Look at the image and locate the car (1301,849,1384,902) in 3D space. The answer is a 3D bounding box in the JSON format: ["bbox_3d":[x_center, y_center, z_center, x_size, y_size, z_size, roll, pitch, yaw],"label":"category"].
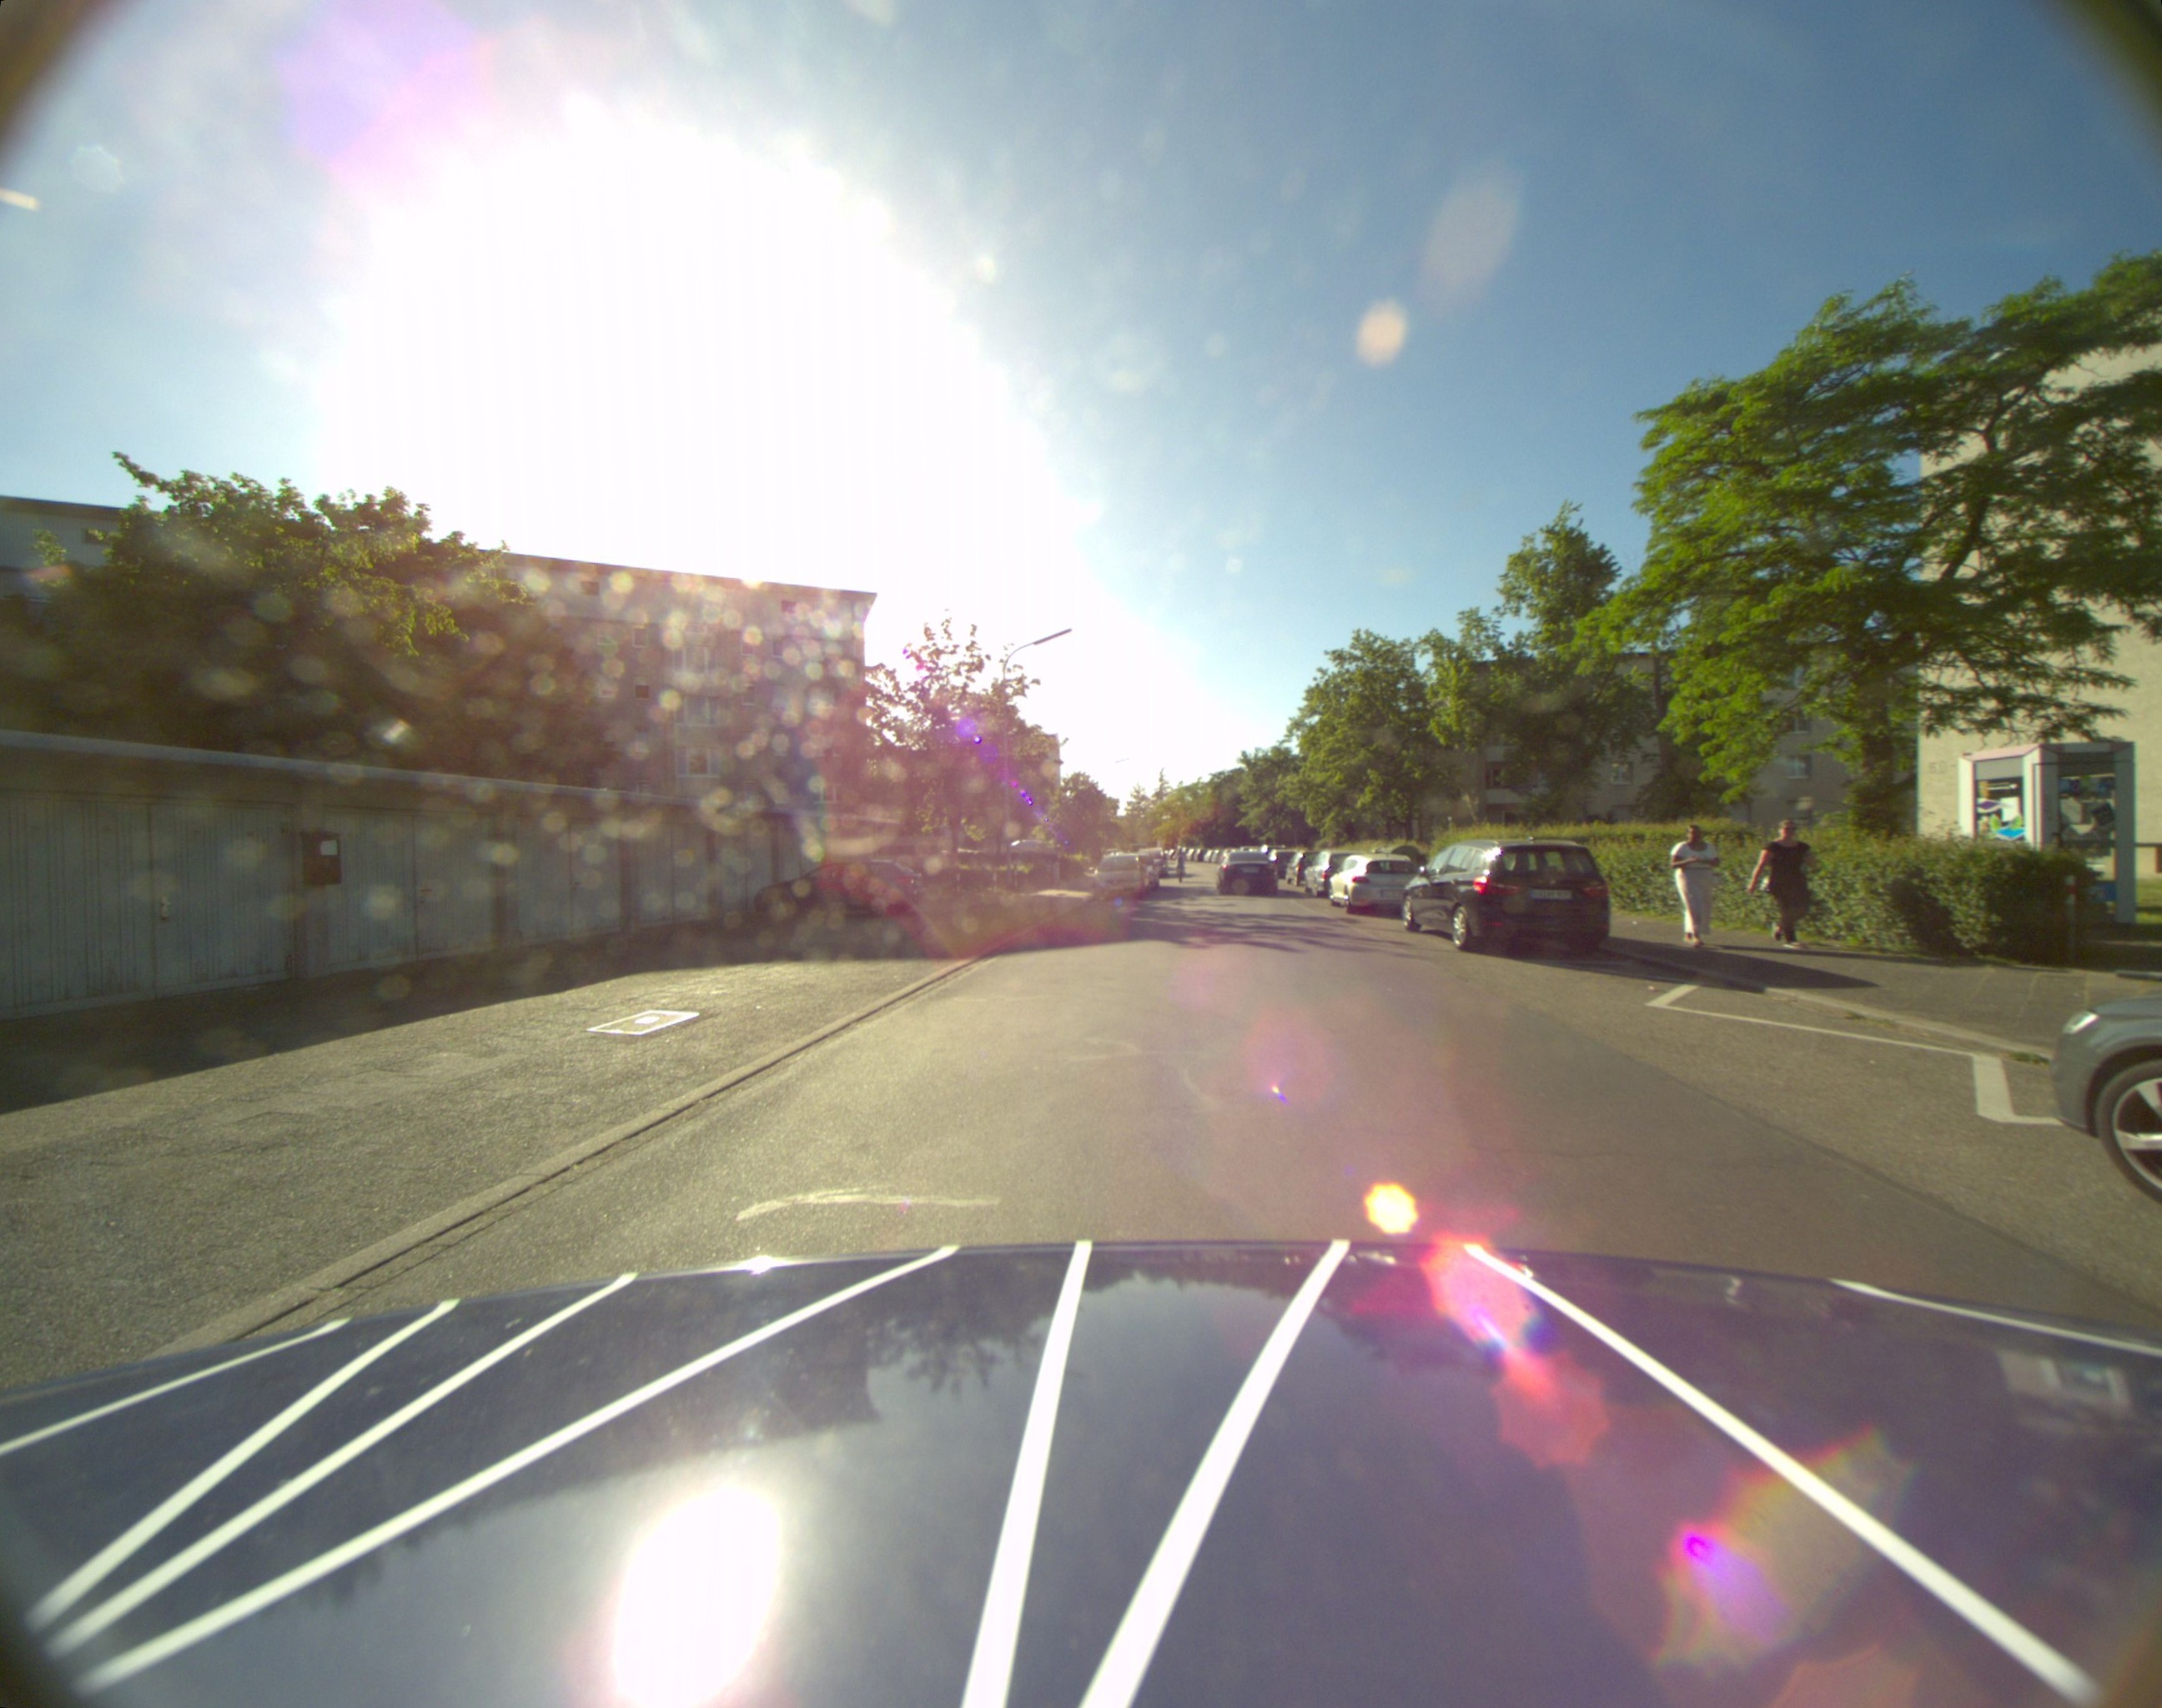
[{"bbox_3d":[8.250,0.615,24.403,1.757,1.481,4.904,2,0,10],"label":"car"}]

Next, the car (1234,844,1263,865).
[{"bbox_3d":[13.650,0.014,61.999,1.810,1.596,4.434,0,1,6],"label":"car"}]

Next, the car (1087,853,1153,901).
[{"bbox_3d":[1.435,0.743,26.339,1.807,1.486,3.797,-2,0,9],"label":"car"}]

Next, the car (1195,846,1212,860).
[{"bbox_3d":[15.049,-0.134,93.498,1.657,1.621,4.072,0,1,2],"label":"car"}]

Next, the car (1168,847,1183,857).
[{"bbox_3d":[14.569,-0.304,117.502,1.658,1.558,3.689,0,1,-3],"label":"car"}]

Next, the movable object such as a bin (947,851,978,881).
[{"bbox_3d":[-5.998,0.599,38.384,1.325,1.472,1.029,-2,1,2],"label":"movable object such as a bin"}]

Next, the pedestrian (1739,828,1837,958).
[{"bbox_3d":[9.360,0.503,10.078,0.722,1.669,0.600,-2,1,8],"label":"pedestrian"}]

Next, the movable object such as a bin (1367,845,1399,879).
[{"bbox_3d":[12.954,0.333,32.630,0.896,1.407,1.327,-4,1,7],"label":"movable object such as a bin"}]

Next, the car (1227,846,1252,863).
[{"bbox_3d":[14.290,0.056,68.795,1.810,1.470,3.942,0,1,6],"label":"car"}]

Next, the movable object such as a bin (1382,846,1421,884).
[{"bbox_3d":[12.637,0.406,29.990,1.004,1.407,1.327,-4,1,7],"label":"movable object such as a bin"}]

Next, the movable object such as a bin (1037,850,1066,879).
[{"bbox_3d":[-1.468,0.517,38.183,1.327,1.420,1.070,1,1,2],"label":"movable object such as a bin"}]

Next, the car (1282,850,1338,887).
[{"bbox_3d":[9.480,0.558,31.665,1.651,1.455,3.497,0,1,7],"label":"car"}]

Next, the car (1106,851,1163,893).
[{"bbox_3d":[2.272,0.671,31.145,1.834,1.537,4.643,-2,0,9],"label":"car"}]

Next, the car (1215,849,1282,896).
[{"bbox_3d":[5.770,0.595,26.675,1.914,1.468,4.573,-1,1,8],"label":"car"}]

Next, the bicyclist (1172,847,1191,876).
[{"bbox_3d":[4.746,0.340,35.800,0.812,1.348,1.092,-2,1,10],"label":"bicyclist"}]

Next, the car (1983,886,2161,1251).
[{"bbox_3d":[4.958,0.902,1.438,1.757,1.413,4.271,1,1,8],"label":"car"}]

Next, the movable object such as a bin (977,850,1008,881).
[{"bbox_3d":[-4.468,0.559,38.366,1.327,1.528,1.029,-2,1,2],"label":"movable object such as a bin"}]

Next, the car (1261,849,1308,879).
[{"bbox_3d":[10.424,0.455,39.228,1.757,1.377,4.676,0,1,7],"label":"car"}]

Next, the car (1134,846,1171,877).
[{"bbox_3d":[4.184,0.407,43.725,1.757,1.617,4.498,-2,0,9],"label":"car"}]

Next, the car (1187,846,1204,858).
[{"bbox_3d":[14.970,-0.261,99.766,1.657,1.621,3.690,0,1,0],"label":"car"}]

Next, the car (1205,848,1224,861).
[{"bbox_3d":[15.119,0.004,86.189,1.657,1.470,3.735,0,1,1],"label":"car"}]

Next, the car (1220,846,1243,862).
[{"bbox_3d":[14.597,-0.009,73.976,1.634,1.470,3.880,0,1,3],"label":"car"}]

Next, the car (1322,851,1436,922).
[{"bbox_3d":[7.078,0.694,18.459,1.757,1.417,4.213,1,2,10],"label":"car"}]

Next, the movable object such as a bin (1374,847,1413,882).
[{"bbox_3d":[12.869,0.422,31.319,1.121,1.358,1.258,-4,1,7],"label":"movable object such as a bin"}]

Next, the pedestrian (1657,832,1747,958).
[{"bbox_3d":[8.519,0.554,10.448,0.722,1.669,0.616,-2,1,8],"label":"pedestrian"}]

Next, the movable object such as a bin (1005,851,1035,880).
[{"bbox_3d":[-3.060,0.576,38.300,1.327,1.423,1.029,-2,1,2],"label":"movable object such as a bin"}]

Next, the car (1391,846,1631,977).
[{"bbox_3d":[6.356,0.697,11.876,1.757,1.626,4.372,1,1,8],"label":"car"}]

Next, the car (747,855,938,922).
[{"bbox_3d":[-5.945,0.851,19.245,4.191,1.486,1.818,-2,1,5],"label":"car"}]

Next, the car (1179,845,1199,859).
[{"bbox_3d":[14.978,-0.272,105.550,1.884,1.857,5.438,0,1,-2],"label":"car"}]

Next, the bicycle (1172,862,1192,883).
[{"bbox_3d":[4.771,0.842,35.895,0.823,0.896,2.204,-2,0,9],"label":"bicycle"}]

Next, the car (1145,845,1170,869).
[{"bbox_3d":[5.719,0.191,57.079,1.758,1.664,4.414,-2,0,5],"label":"car"}]

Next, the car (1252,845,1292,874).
[{"bbox_3d":[11.216,0.289,44.839,1.757,1.659,4.392,0,1,7],"label":"car"}]

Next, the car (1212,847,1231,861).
[{"bbox_3d":[15.002,-0.027,81.067,1.657,1.470,3.106,0,1,3],"label":"car"}]
